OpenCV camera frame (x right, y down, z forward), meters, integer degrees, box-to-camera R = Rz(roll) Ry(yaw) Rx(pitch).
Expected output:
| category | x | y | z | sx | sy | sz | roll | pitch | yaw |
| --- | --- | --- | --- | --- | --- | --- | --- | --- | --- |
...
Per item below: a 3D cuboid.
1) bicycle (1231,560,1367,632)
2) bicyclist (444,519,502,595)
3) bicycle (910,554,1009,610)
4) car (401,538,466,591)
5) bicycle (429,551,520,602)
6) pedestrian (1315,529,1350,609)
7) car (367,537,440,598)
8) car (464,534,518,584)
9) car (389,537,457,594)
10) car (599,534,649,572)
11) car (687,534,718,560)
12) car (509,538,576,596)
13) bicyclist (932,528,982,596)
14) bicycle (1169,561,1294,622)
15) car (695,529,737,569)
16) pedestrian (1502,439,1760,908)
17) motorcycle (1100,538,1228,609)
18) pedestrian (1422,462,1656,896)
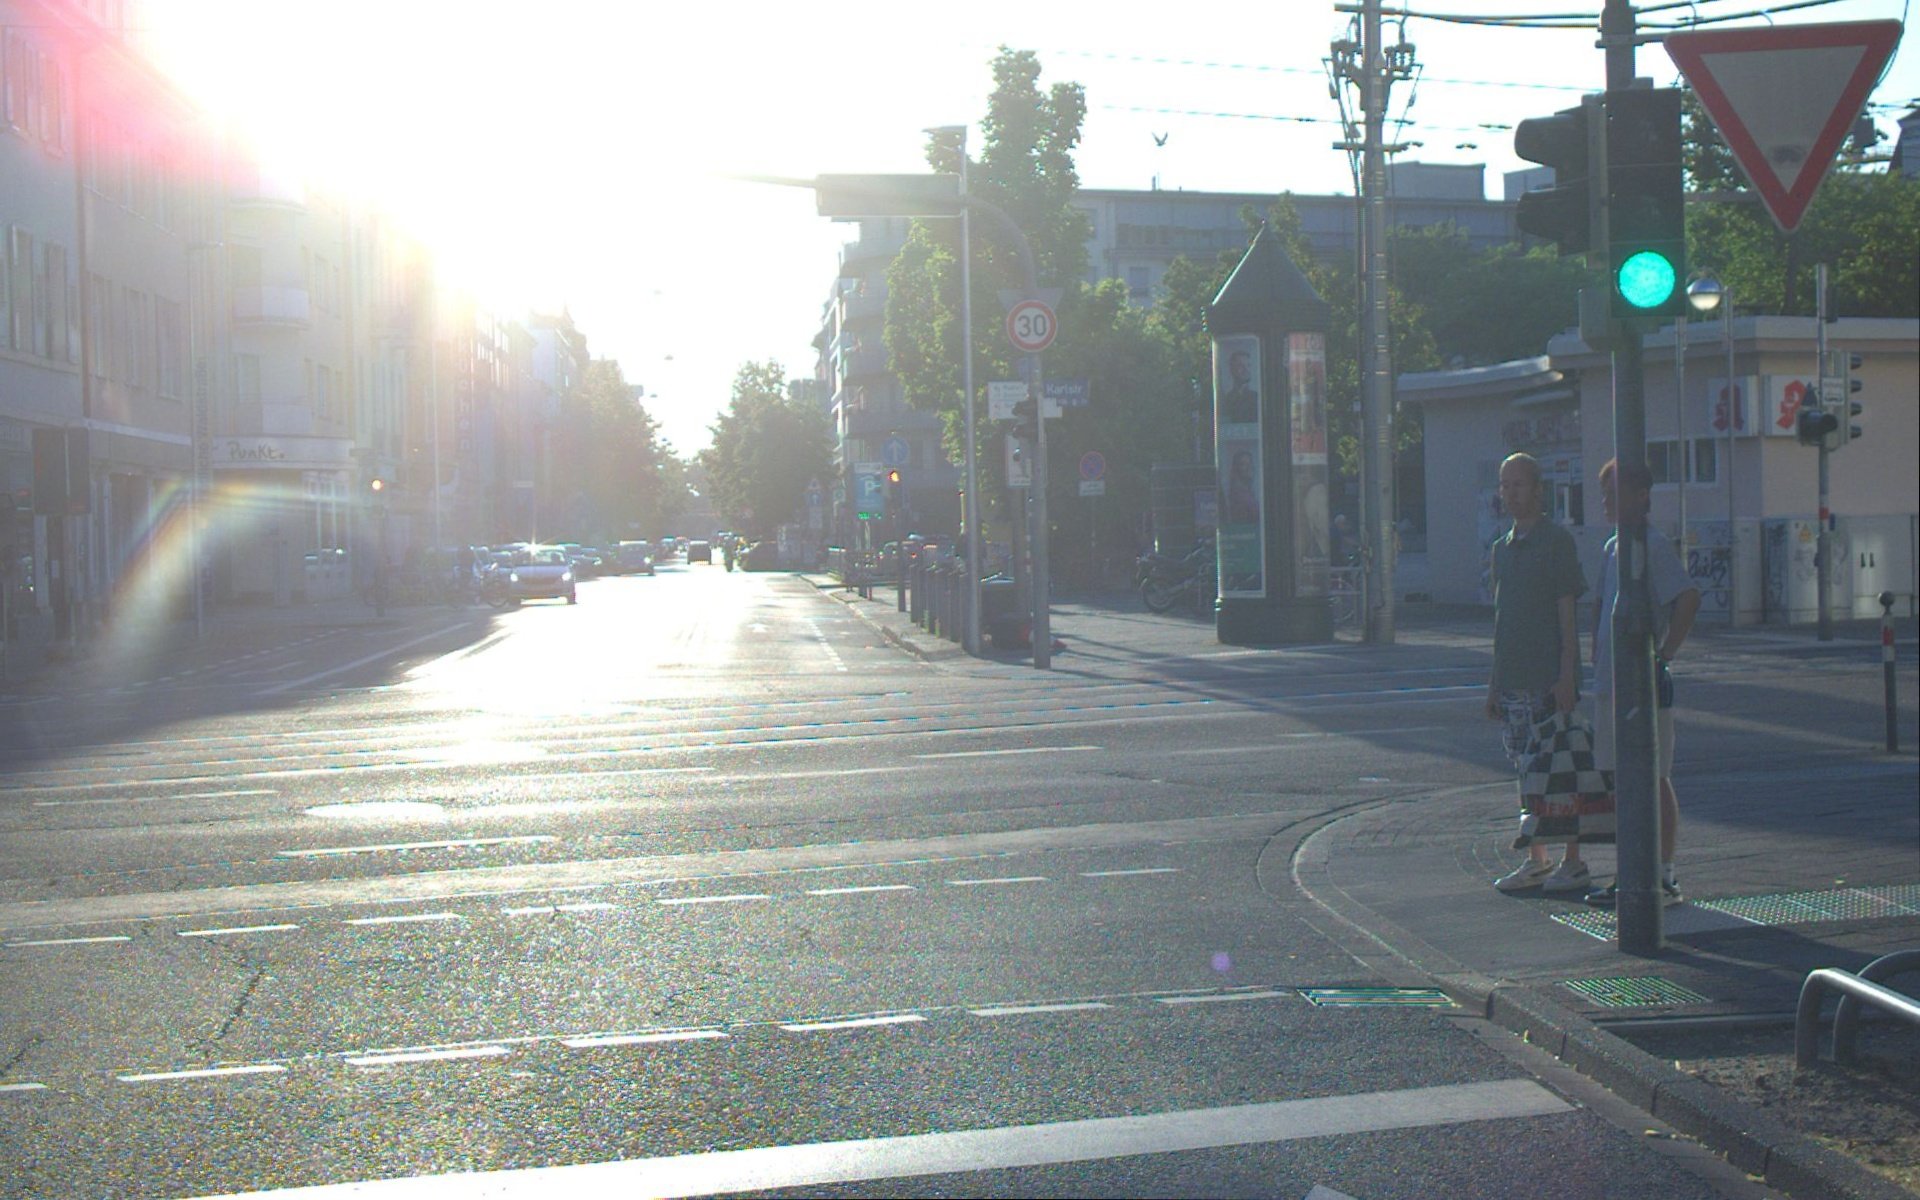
| category | x | y | z | sx | sy | sz | roll | pitch | yaw |
| --- | --- | --- | --- | --- | --- | --- | --- | --- | --- |
| bicycle | 5.115 | -0.057 | 51.955 | 2.020 | 1.041 | 0.560 | -1 | 0 | 4 |
| bicyclist | -11.613 | -1.020 | 81.972 | 1.130 | 1.784 | 0.764 | 1 | 0 | 17 |
| bicycle | -0.013 | -0.401 | 75.202 | 2.119 | 1.200 | 0.500 | 1 | 0 | 19 |
| car | -14.869 | -0.997 | 97.213 | 1.545 | 1.464 | 3.352 | -1 | 0 | -4 |
| bicycle | -11.576 | -0.571 | 81.935 | 2.119 | 1.200 | 0.500 | 1 | 0 | 17 |
| pedestrian | 7.708 | -0.638 | 71.144 | 0.681 | 1.651 | 0.695 | 1 | 0 | 4 |
| car | -14.335 | -0.849 | 88.607 | 1.545 | 1.478 | 3.353 | -2 | 1 | -4 |
| car | -14.938 | -1.297 | 109.602 | 1.482 | 1.554 | 3.259 | -1 | 0 | -4 |
| car | -14.396 | -0.920 | 92.253 | 1.545 | 1.464 | 3.352 | -1 | 0 | -4 |
| car | -15.351 | -2.161 | 157.322 | 1.993 | 1.678 | 4.001 | -2 | 1 | -2 |
| car | -18.395 | -3.772 | 245.663 | 1.993 | 1.809 | 4.000 | 1 | 0 | -2 |
| car | -10.700 | -0.843 | 88.156 | 1.545 | 1.463 | 3.352 | -1 | 0 | -4 |
| bicyclist | -0.063 | -0.823 | 75.236 | 0.900 | 1.476 | 0.734 | 1 | 0 | 19 |
| bicycle | 4.563 | -0.139 | 57.780 | 2.078 | 0.979 | 0.560 | -1 | 0 | 4 |
| car | -12.535 | -2.628 | 176.863 | 1.993 | 2.007 | 4.000 | 1 | 0 | -2 |
| pedestrian | 2.627 | 0.270 | 13.498 | 0.637 | 1.767 | 0.750 | -2 | 1 | -24 |
| motorcycle | 3.601 | -0.476 | 60.805 | 2.234 | 1.197 | 0.720 | -1 | 1 | 2 |
| pedestrian | 2.430 | 0.314 | 14.454 | 0.585 | 1.767 | 0.749 | -2 | 1 | -35 |
